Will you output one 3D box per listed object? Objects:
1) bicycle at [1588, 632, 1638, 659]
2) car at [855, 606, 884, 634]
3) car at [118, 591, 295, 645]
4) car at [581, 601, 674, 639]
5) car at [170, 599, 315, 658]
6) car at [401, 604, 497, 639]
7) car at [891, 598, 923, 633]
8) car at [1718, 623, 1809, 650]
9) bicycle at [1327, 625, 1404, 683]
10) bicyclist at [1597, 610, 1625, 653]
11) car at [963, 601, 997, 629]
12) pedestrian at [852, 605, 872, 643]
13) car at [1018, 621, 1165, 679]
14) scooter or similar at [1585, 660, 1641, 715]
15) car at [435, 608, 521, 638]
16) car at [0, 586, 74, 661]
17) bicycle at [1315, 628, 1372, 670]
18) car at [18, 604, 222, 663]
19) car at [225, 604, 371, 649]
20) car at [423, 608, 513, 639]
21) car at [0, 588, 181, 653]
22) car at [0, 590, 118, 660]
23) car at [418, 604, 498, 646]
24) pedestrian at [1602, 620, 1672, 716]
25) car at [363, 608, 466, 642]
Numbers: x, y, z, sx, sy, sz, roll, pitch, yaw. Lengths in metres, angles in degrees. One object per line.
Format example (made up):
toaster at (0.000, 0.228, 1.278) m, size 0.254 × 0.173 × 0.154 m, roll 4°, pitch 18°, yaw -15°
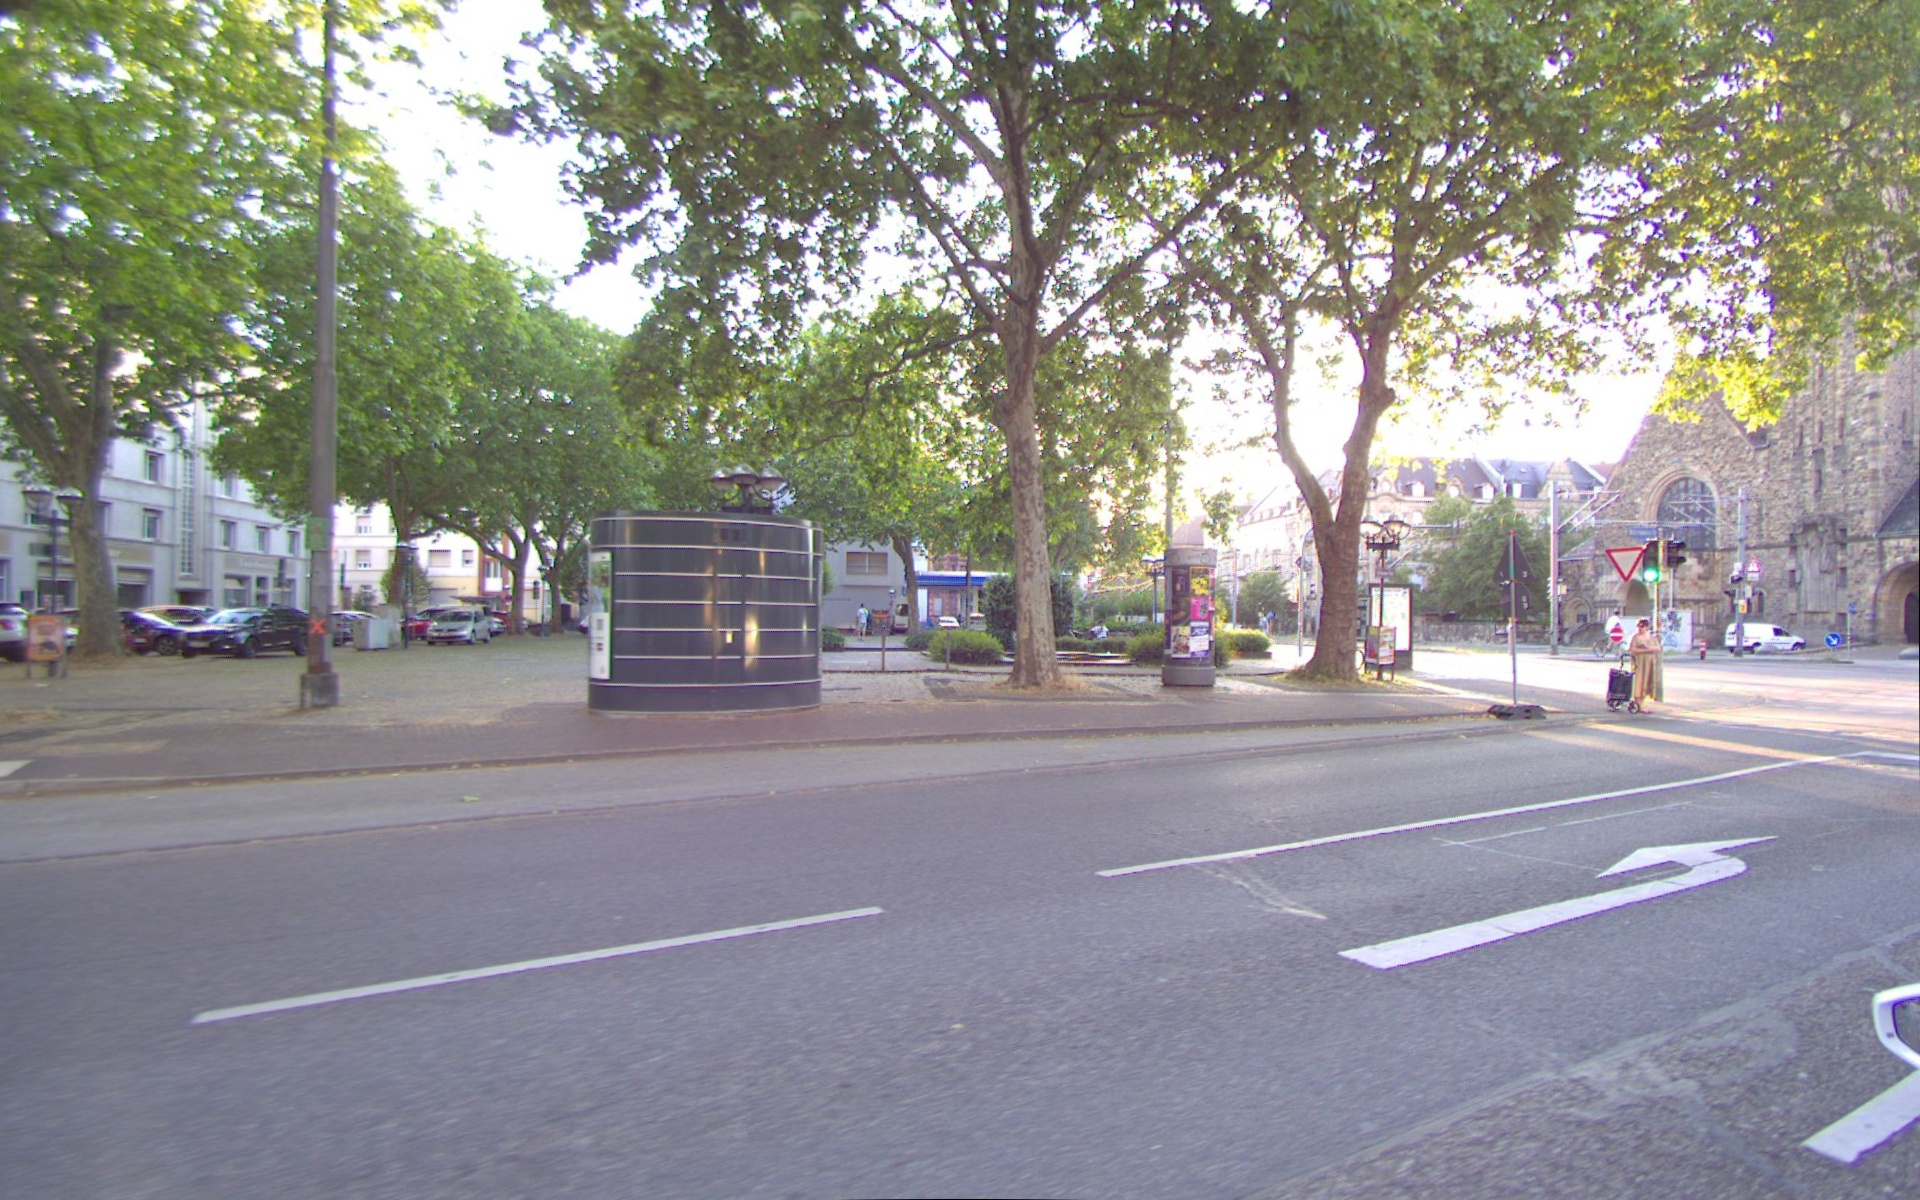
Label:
bicycle at (28.095, 1.960, 43.212) m, size 2.213 × 1.092 × 0.655 m, roll 0°, pitch 1°, yaw -23°
car at (-6.463, 1.374, 71.408) m, size 1.882 × 1.873 × 3.995 m, roll 2°, pitch 0°, yaw -7°
car at (-26.601, 0.651, 35.636) m, size 4.557 × 1.805 × 2.090 m, roll -1°, pitch -2°, yaw -10°
car at (-18.325, 1.114, 55.553) m, size 4.557 × 1.964 × 1.997 m, roll -1°, pitch -2°, yaw -10°
car at (-20.726, 0.832, 29.215) m, size 1.642 × 1.549 × 3.760 m, roll 2°, pitch -2°, yaw -4°
car at (-28.686, 1.215, 56.530) m, size 4.578 × 1.834 × 1.992 m, roll 0°, pitch -2°, yaw -20°
car at (-3.823, 1.111, 71.650) m, size 1.963 × 2.374 × 3.995 m, roll 2°, pitch 0°, yaw -7°
car at (49.508, 2.240, 61.926) m, size 4.372 × 1.537 × 1.718 m, roll 2°, pitch 0°, yaw -6°
bicycle at (9.815, 1.310, 24.304) m, size 1.967 × 1.344 × 0.523 m, roll 2°, pitch 0°, yaw -26°
bicyclist at (27.977, 1.345, 43.161) m, size 0.847 × 1.851 × 0.655 m, roll 1°, pitch 0°, yaw -22°
car at (1.411, 1.051, 72.400) m, size 1.882 × 1.873 × 3.995 m, roll 2°, pitch 0°, yaw -7°
pedestrian at (-4.490, 1.080, 46.077) m, size 0.869 × 1.694 × 0.740 m, roll 2°, pitch 0°, yaw -8°
car at (4.362, 1.644, 33.746) m, size 4.552 × 1.805 × 1.999 m, roll -1°, pitch -2°, yaw -5°
scooter or similar at (11.514, 1.529, 17.708) m, size 0.845 × 0.910 × 0.586 m, roll 2°, pitch 0°, yaw -40°
car at (-29.411, 1.402, 61.482) m, size 4.572 × 1.758 × 1.990 m, roll 0°, pitch -2°, yaw -22°
car at (-25.192, 0.624, 24.813) m, size 4.557 × 1.805 × 1.997 m, roll -1°, pitch -2°, yaw -10°
bicycle at (10.436, 1.335, 27.331) m, size 1.779 × 1.107 × 0.455 m, roll 2°, pitch 0°, yaw -33°
car at (-26.613, 1.063, 31.993) m, size 4.557 × 1.758 × 1.997 m, roll -1°, pitch -2°, yaw -10°
car at (-27.086, 1.095, 41.252) m, size 4.557 × 1.758 × 1.997 m, roll -1°, pitch -2°, yaw -10°
car at (-28.847, 1.400, 59.055) m, size 4.572 × 1.758 × 1.990 m, roll 0°, pitch -2°, yaw -22°
car at (-25.957, 0.607, 29.412) m, size 4.557 × 1.805 × 1.997 m, roll -1°, pitch -2°, yaw -10°
car at (-25.911, 0.701, 27.056) m, size 4.557 × 1.805 × 1.997 m, roll -1°, pitch -2°, yaw -10°
car at (-21.277, 1.026, 42.697) m, size 1.642 × 1.684 × 3.760 m, roll 2°, pitch 0°, yaw -4°
pedestrian at (12.229, 1.213, 18.148) m, size 0.766 × 1.649 × 0.796 m, roll 2°, pitch 0°, yaw -35°
car at (-29.099, 1.327, 53.736) m, size 4.572 × 1.758 × 1.990 m, roll 0°, pitch -2°, yaw -22°
